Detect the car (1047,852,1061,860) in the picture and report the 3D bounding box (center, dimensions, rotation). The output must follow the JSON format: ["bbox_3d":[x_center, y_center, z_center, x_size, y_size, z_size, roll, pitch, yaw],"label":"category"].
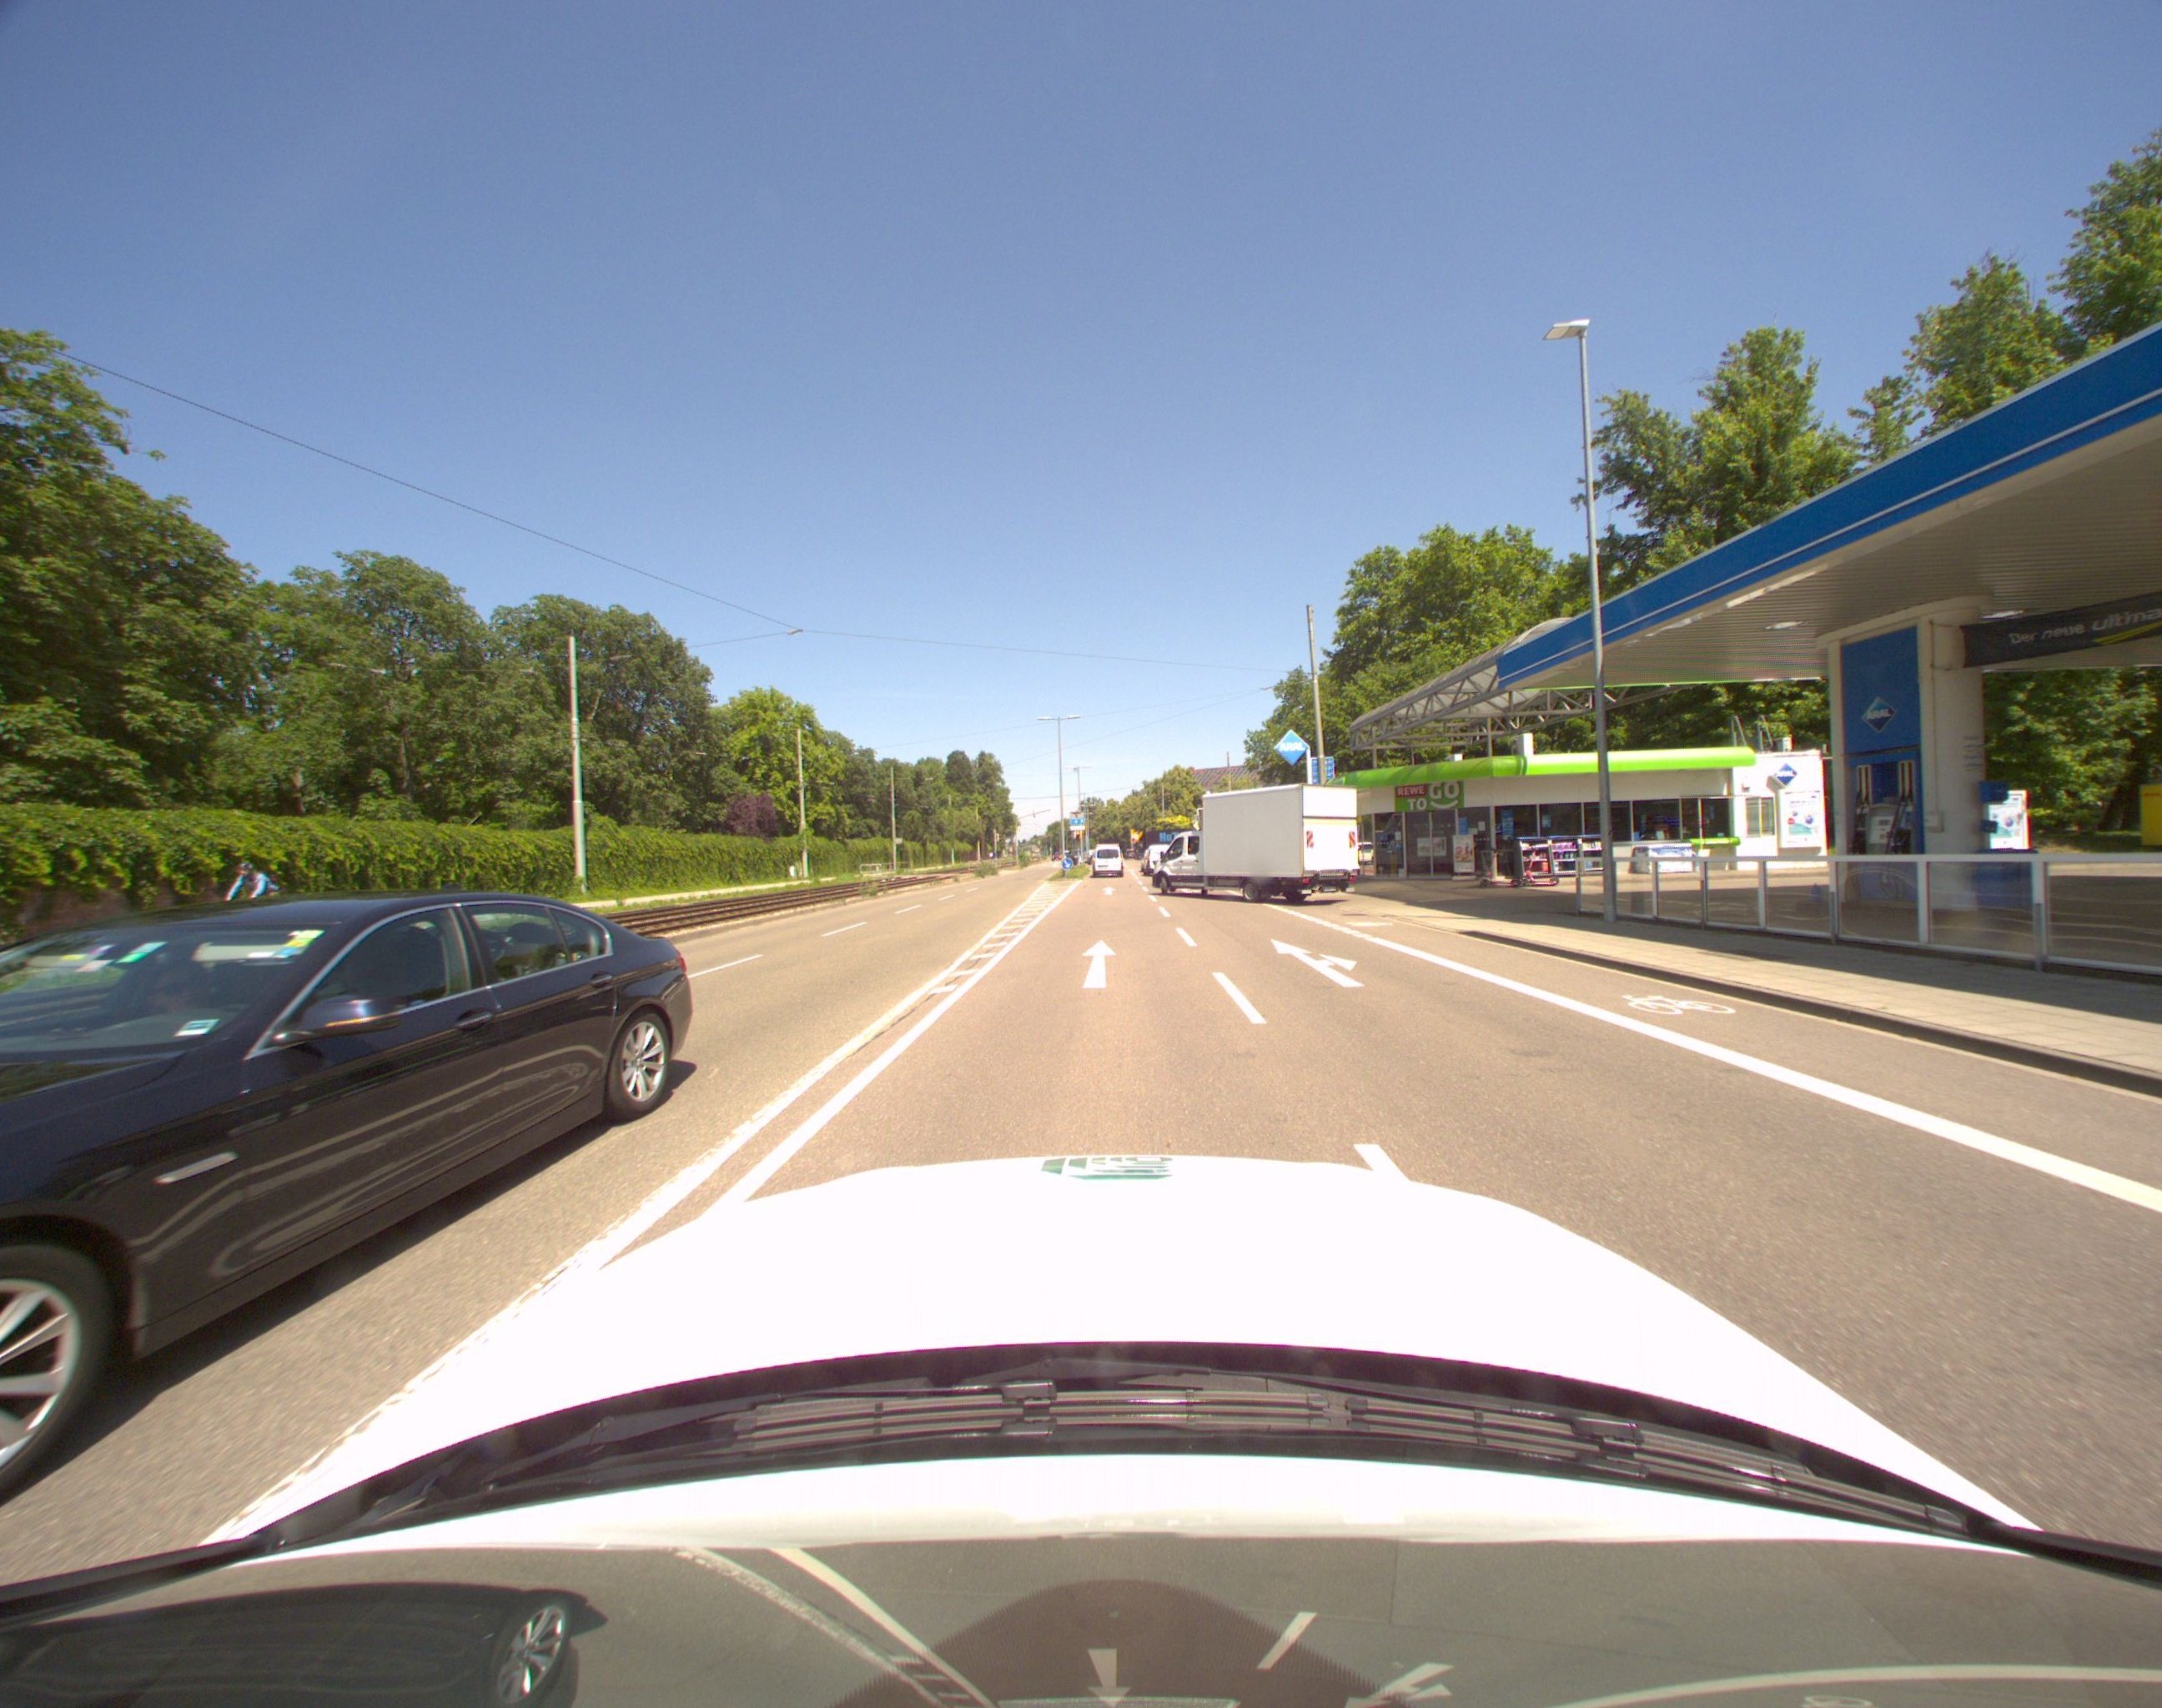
[{"bbox_3d":[-4.890,0.322,148.185,1.976,1.358,4.542,-2,0,3],"label":"car"}]

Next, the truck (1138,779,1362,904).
[{"bbox_3d":[5.056,-0.323,26.156,2.435,3.391,7.757,-2,0,-30],"label":"truck"}]

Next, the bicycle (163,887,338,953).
[{"bbox_3d":[-17.502,1.354,17.303,0.825,1.156,2.688,-2,0,4],"label":"bicycle"}]

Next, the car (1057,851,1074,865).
[{"bbox_3d":[-1.938,0.501,101.529,1.989,1.617,4.451,-2,0,-2],"label":"car"}]

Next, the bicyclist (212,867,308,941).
[{"bbox_3d":[-17.512,1.039,17.402,0.990,1.486,1.001,-2,0,3],"label":"bicyclist"}]

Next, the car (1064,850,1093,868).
[{"bbox_3d":[-0.310,0.551,87.524,1.998,1.829,4.515,-2,0,-16],"label":"car"}]

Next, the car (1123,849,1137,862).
[{"bbox_3d":[7.572,0.183,125.531,1.986,1.859,4.002,-2,0,2],"label":"car"}]

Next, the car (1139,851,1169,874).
[{"bbox_3d":[4.966,0.565,55.805,1.749,1.486,4.002,-2,0,2],"label":"car"}]

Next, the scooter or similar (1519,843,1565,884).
[{"bbox_3d":[13.817,0.290,24.437,1.130,1.176,0.384,-2,0,2],"label":"scooter or similar"}]

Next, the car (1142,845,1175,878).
[{"bbox_3d":[4.508,0.426,47.832,1.703,1.830,4.016,-2,0,2],"label":"car"}]

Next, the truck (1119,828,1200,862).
[{"bbox_3d":[9.067,-0.976,94.797,8.695,3.632,3.610,-2,0,40],"label":"truck"}]

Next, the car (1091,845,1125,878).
[{"bbox_3d":[1.516,0.405,46.955,1.860,1.836,3.850,-1,0,1],"label":"car"}]

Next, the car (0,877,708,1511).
[{"bbox_3d":[-3.497,0.898,3.369,1.787,1.399,4.447,-2,0,0],"label":"car"}]

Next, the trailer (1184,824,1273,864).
[{"bbox_3d":[16.156,-1.034,89.554,8.860,4.050,3.562,-2,0,33],"label":"trailer"}]
